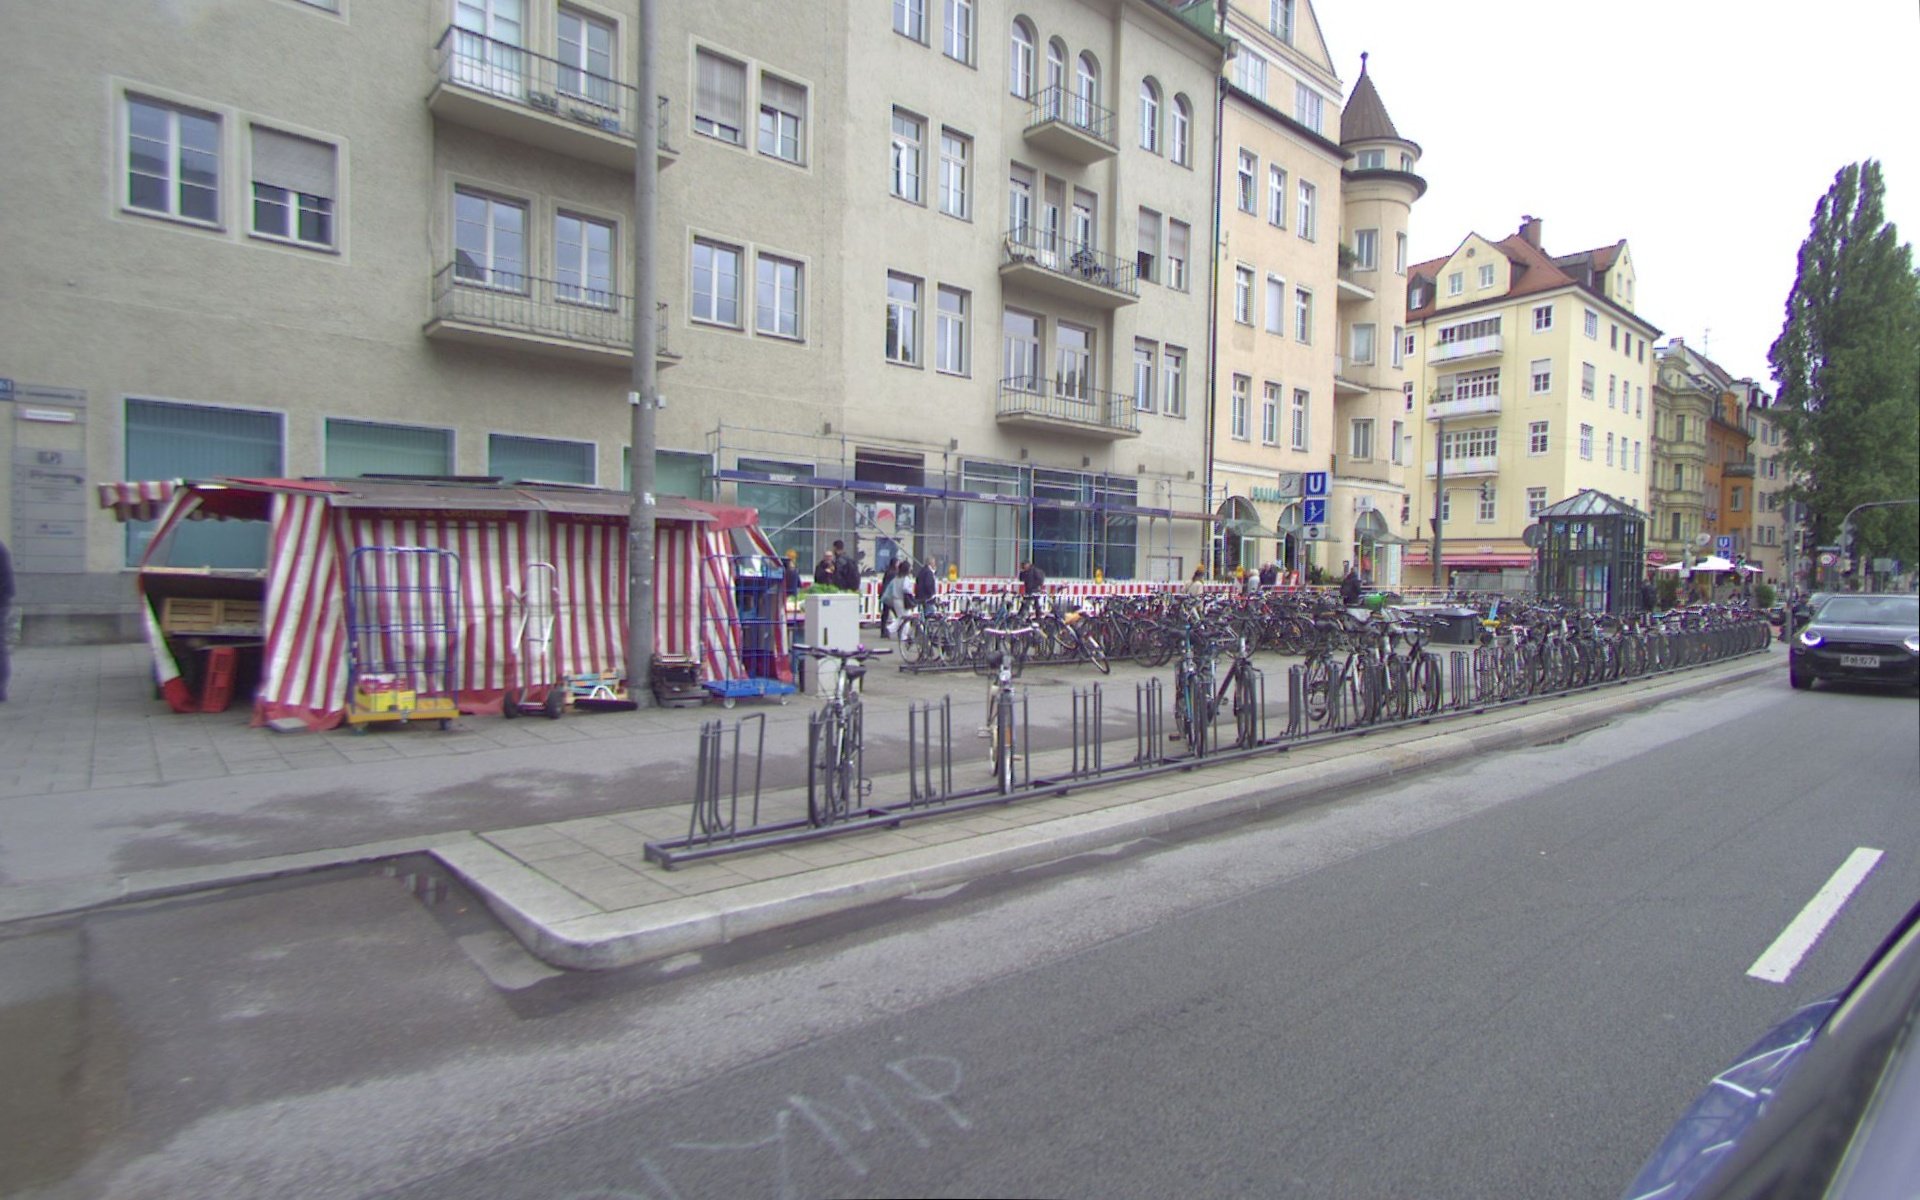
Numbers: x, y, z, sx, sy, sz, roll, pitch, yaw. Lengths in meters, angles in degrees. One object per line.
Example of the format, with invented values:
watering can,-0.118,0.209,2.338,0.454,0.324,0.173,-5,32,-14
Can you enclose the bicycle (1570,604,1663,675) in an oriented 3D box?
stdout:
bicycle,10.514,0.620,16.278,0.390,1.073,1.850,0,-2,4

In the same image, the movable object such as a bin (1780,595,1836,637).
movable object such as a bin,23.891,0.437,28.518,0.735,1.075,1.088,-1,5,-43

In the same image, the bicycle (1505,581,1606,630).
bicycle,16.326,0.129,27.812,0.617,1.242,2.318,0,2,-38

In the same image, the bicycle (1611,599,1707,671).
bicycle,12.084,0.579,17.559,0.481,1.151,1.794,0,1,3

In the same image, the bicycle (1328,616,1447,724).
bicycle,4.405,0.693,10.550,0.379,1.024,1.802,0,-2,-3

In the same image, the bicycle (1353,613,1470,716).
bicycle,4.891,0.673,11.078,0.379,1.024,1.802,0,-2,-3

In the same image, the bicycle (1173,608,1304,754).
bicycle,2.343,0.651,8.726,0.536,1.119,1.802,0,-2,-3

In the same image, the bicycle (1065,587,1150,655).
bicycle,2.563,0.345,17.683,1.447,1.091,0.404,4,3,41

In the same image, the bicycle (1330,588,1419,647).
bicycle,8.524,0.342,20.869,0.403,1.091,1.654,-1,3,-42

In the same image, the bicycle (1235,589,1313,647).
bicycle,6.520,0.348,21.057,0.403,1.091,1.528,-1,3,-42

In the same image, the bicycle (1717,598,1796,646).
bicycle,18.655,0.526,23.742,0.390,1.073,1.851,0,-2,1

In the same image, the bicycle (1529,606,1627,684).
bicycle,9.015,0.642,14.841,0.390,1.073,1.850,0,-2,4

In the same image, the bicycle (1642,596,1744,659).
bicycle,14.414,0.512,19.958,0.578,1.151,1.798,0,1,-5

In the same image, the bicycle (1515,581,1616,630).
bicycle,16.830,0.118,28.181,0.617,1.242,2.318,0,2,-38

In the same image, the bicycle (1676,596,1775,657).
bicycle,15.237,0.502,20.200,0.468,1.151,1.681,0,1,-11

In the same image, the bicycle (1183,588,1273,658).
bicycle,4.607,0.375,17.453,1.447,1.091,0.404,4,3,41

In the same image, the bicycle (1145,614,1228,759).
bicycle,1.835,0.662,8.375,0.360,1.068,1.800,0,-2,3

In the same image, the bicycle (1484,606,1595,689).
bicycle,7.947,0.641,13.964,0.390,1.073,1.802,0,-2,-3

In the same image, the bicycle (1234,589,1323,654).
bicycle,5.856,0.375,18.665,0.403,1.091,1.538,-1,3,-42

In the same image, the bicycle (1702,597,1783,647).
bicycle,17.545,0.492,22.737,0.390,1.073,1.851,0,-2,1

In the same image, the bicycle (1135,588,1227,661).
bicycle,3.640,0.384,16.720,1.447,1.091,0.404,4,3,41

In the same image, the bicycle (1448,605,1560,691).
bicycle,6.957,0.597,13.027,0.379,1.024,1.802,0,-2,-3

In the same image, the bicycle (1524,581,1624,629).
bicycle,17.321,0.105,28.609,0.617,1.242,2.318,0,2,-38

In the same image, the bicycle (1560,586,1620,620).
bicycle,23.440,0.102,37.680,0.597,1.141,1.828,2,2,-28

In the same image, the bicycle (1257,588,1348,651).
bicycle,6.605,0.358,19.597,0.403,1.091,1.660,-1,3,-42

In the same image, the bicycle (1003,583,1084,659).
bicycle,1.334,0.312,16.473,0.402,1.116,1.636,0,3,-32

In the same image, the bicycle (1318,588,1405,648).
bicycle,8.161,0.350,20.609,0.403,1.091,1.604,-1,3,-42

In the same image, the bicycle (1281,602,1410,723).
bicycle,3.880,0.606,10.327,0.536,1.119,1.802,0,-2,-3

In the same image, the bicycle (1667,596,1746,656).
bicycle,14.989,0.500,20.370,0.341,1.151,1.527,0,1,-5

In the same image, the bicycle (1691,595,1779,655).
bicycle,15.848,0.486,20.744,0.469,1.151,1.679,0,1,-2

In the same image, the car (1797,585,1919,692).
car,14.708,0.522,15.988,3.981,1.488,1.738,-1,2,-42

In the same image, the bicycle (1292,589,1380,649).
bicycle,7.551,0.359,20.367,0.403,1.091,1.624,-1,3,-42

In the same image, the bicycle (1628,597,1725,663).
bicycle,13.471,0.537,19.088,0.480,1.151,1.797,0,1,-3

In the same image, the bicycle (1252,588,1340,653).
bicycle,6.301,0.364,19.035,0.403,1.091,1.527,-1,3,-42

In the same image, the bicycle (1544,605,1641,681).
bicycle,9.525,0.634,15.309,0.390,1.073,1.850,0,-2,4

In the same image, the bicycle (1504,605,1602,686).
bicycle,8.383,0.630,14.389,0.390,1.073,1.850,0,-2,4

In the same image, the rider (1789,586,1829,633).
rider,23.918,0.246,28.503,0.721,1.256,0.731,-1,5,-44

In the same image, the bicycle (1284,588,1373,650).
bicycle,7.143,0.343,19.688,0.402,1.091,1.640,0,3,-36

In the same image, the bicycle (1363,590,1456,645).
bicycle,9.489,0.356,21.391,1.728,1.091,0.410,2,2,-1

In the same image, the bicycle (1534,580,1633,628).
bicycle,17.863,0.092,29.061,0.617,1.242,2.318,0,2,-38

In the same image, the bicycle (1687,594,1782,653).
bicycle,16.305,0.469,21.364,0.468,1.151,1.788,0,1,-7

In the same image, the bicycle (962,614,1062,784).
bicycle,0.330,0.648,7.295,0.536,1.068,1.802,0,-2,-3

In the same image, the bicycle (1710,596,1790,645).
bicycle,18.014,0.481,23.124,0.390,1.073,1.851,0,-2,1

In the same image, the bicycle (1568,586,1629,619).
bicycle,23.977,0.092,38.032,0.597,1.141,1.828,2,2,-28

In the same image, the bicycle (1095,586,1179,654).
bicycle,3.125,0.336,17.980,1.447,1.091,0.404,4,3,41
